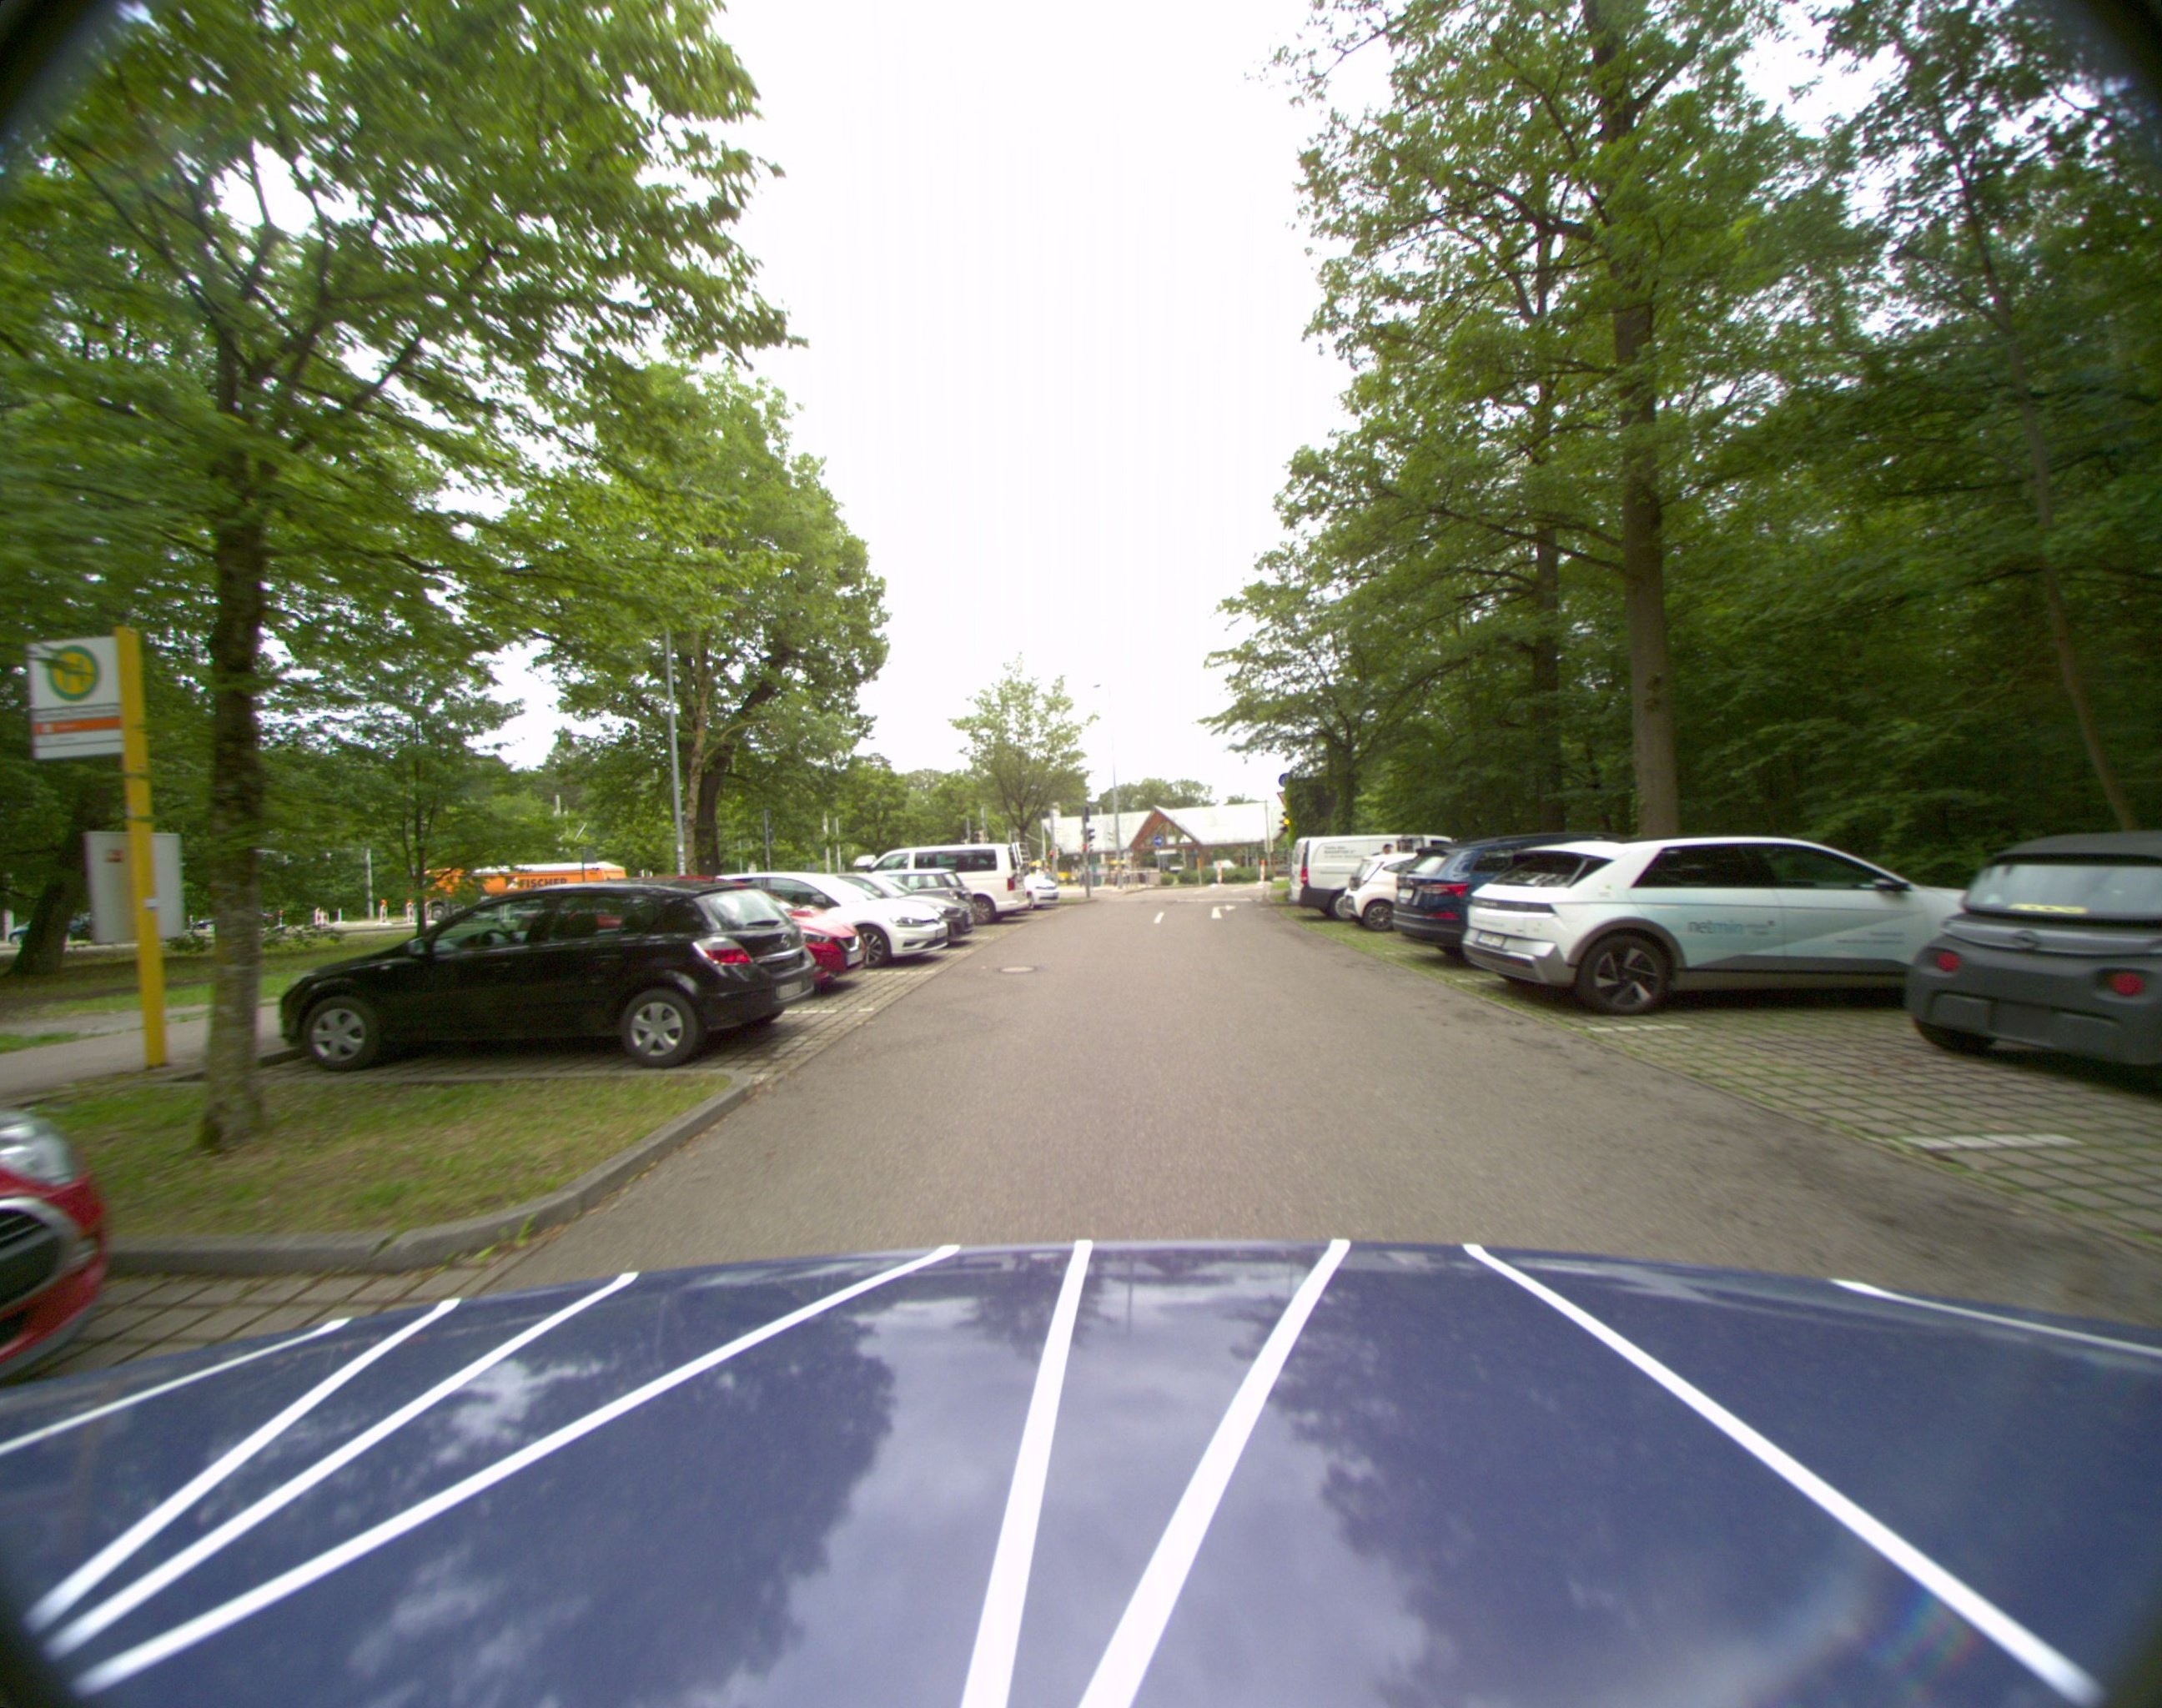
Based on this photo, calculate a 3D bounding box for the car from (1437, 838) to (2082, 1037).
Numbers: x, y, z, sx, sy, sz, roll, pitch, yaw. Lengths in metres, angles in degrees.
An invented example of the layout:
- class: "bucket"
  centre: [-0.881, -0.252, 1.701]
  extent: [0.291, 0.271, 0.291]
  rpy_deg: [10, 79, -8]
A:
- class: "car"
  centre: [6.135, 0.717, 7.416]
  extent: [4.365, 1.588, 2.031]
  rpy_deg: [-2, 1, 4]

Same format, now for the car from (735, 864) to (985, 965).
- class: "car"
  centre: [-4.030, 1.092, 14.296]
  extent: [3.995, 1.475, 1.877]
  rpy_deg: [-4, 1, 5]

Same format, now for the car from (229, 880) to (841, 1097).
- class: "car"
  centre: [-4.464, 1.066, 6.689]
  extent: [3.996, 1.474, 1.922]
  rpy_deg: [-2, 0, 3]

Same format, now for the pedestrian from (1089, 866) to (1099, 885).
- class: "pedestrian"
  centre: [1.220, 1.992, 70.360]
  extent: [0.601, 1.746, 0.667]
  rpy_deg: [-3, -2, -28]

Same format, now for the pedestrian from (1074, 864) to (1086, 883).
- class: "pedestrian"
  centre: [-0.103, 1.805, 71.036]
  extent: [0.732, 1.746, 0.738]
  rpy_deg: [-4, -2, 21]

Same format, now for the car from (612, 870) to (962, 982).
- class: "car"
  centre: [-4.475, 1.085, 11.964]
  extent: [4.781, 1.467, 1.854]
  rpy_deg: [-2, -1, 6]

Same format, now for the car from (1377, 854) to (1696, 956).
- class: "car"
  centre: [7.109, 0.768, 12.202]
  extent: [3.996, 1.436, 1.823]
  rpy_deg: [-1, 0, 3]

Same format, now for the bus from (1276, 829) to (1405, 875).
- class: "bus"
  centre: [20.261, -0.192, 59.074]
  extent: [10.532, 3.139, 2.807]
  rpy_deg: [-2, -2, -27]

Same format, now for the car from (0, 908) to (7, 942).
- class: "car"
  centre: [-58.232, 3.794, 39.004]
  extent: [3.699, 1.727, 1.803]
  rpy_deg: [-4, -2, 2]

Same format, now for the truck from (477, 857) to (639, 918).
- class: "truck"
  centre: [-33.059, 2.090, 48.209]
  extent: [8.240, 3.493, 2.869]
  rpy_deg: [-2, -1, 2]

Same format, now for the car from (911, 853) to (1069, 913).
- class: "car"
  centre: [-2.861, 0.922, 24.437]
  extent: [4.527, 1.683, 2.167]
  rpy_deg: [-2, 1, 12]

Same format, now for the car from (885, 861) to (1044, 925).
- class: "car"
  centre: [-3.324, 1.109, 21.995]
  extent: [4.003, 1.546, 1.949]
  rpy_deg: [-4, -1, 13]

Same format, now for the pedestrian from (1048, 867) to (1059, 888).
- class: "pedestrian"
  centre: [-2.382, 1.994, 65.531]
  extent: [0.736, 1.746, 0.668]
  rpy_deg: [-3, -2, -6]

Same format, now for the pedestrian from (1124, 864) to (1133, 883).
- class: "pedestrian"
  centre: [4.274, 1.768, 68.688]
  extent: [0.656, 1.746, 0.668]
  rpy_deg: [-3, -2, -4]

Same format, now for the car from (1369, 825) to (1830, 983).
- class: "car"
  centre: [6.380, 0.613, 9.923]
  extent: [4.434, 1.684, 2.172]
  rpy_deg: [-2, 0, 5]

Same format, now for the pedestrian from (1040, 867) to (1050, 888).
- class: "pedestrian"
  centre: [-3.126, 2.034, 65.390]
  extent: [0.736, 1.746, 0.668]
  rpy_deg: [-3, -2, -4]

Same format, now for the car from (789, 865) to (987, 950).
- class: "car"
  centre: [-4.151, 1.158, 16.718]
  extent: [3.730, 1.545, 1.848]
  rpy_deg: [-4, -2, 5]

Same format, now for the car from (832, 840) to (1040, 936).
- class: "car"
  centre: [-3.593, 0.853, 19.368]
  extent: [4.658, 2.008, 2.085]
  rpy_deg: [-4, -2, 7]

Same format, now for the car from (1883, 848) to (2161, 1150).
- class: "car"
  centre: [7.000, 0.745, 4.626]
  extent: [2.666, 1.532, 1.445]
  rpy_deg: [-2, 0, 0]

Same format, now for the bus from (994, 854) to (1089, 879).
- class: "bus"
  centre: [-5.715, 1.818, 117.940]
  extent: [3.969, 3.461, 18.616]
  rpy_deg: [-5, -3, 35]

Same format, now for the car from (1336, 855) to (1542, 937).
- class: "car"
  centre: [6.728, 0.780, 14.597]
  extent: [3.231, 1.457, 1.657]
  rpy_deg: [-1, -1, 9]

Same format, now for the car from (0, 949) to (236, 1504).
- class: "car"
  centre: [-4.962, 1.118, 1.646]
  extent: [3.997, 1.441, 1.941]
  rpy_deg: [-2, 0, -1]

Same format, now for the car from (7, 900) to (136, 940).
- class: "car"
  centre: [-51.105, 3.330, 38.519]
  extent: [3.996, 1.706, 2.001]
  rpy_deg: [-4, -2, 2]

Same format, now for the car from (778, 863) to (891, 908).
- class: "car"
  centre: [-11.427, 1.477, 35.482]
  extent: [4.577, 1.739, 2.000]
  rpy_deg: [-3, -2, -4]

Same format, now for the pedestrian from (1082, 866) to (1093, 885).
- class: "pedestrian"
  centre: [0.593, 2.020, 70.704]
  extent: [0.670, 1.746, 0.560]
  rpy_deg: [-2, -3, -42]

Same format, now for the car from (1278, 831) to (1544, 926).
- class: "car"
  centre: [7.171, 0.534, 17.054]
  extent: [5.095, 1.904, 1.979]
  rpy_deg: [-2, 0, 8]

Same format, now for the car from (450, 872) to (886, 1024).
- class: "car"
  centre: [-4.797, 1.061, 9.279]
  extent: [4.238, 1.472, 1.919]
  rpy_deg: [-2, 0, 3]

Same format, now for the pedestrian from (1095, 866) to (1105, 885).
- class: "pedestrian"
  centre: [1.760, 1.991, 70.644]
  extent: [0.601, 1.746, 0.667]
  rpy_deg: [-3, -2, -28]

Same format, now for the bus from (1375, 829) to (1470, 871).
- class: "bus"
  centre: [28.440, -0.362, 63.278]
  extent: [7.767, 3.139, 2.807]
  rpy_deg: [-2, -2, -27]

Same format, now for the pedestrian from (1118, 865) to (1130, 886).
- class: "pedestrian"
  centre: [3.779, 1.871, 66.359]
  extent: [0.667, 1.746, 0.657]
  rpy_deg: [-5, -2, 31]
